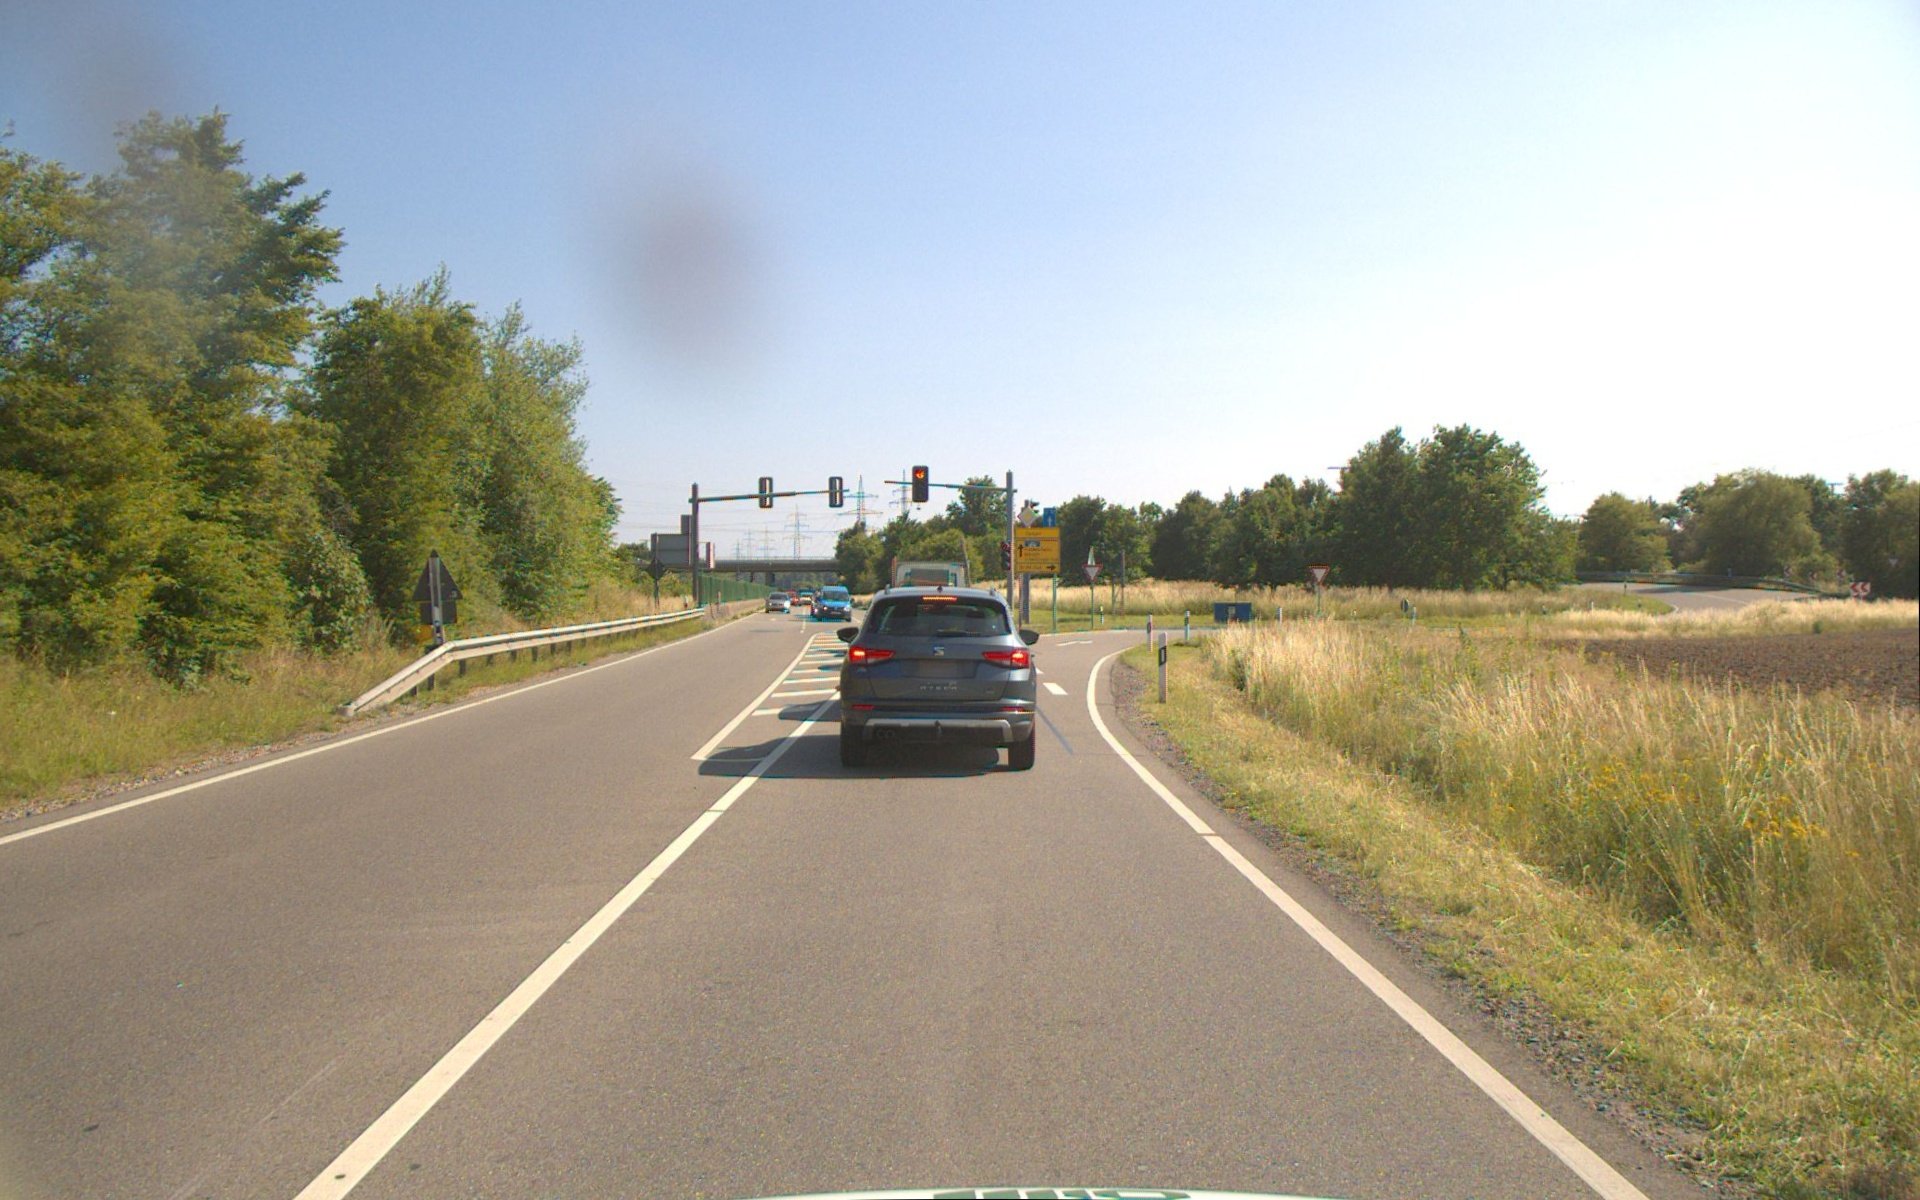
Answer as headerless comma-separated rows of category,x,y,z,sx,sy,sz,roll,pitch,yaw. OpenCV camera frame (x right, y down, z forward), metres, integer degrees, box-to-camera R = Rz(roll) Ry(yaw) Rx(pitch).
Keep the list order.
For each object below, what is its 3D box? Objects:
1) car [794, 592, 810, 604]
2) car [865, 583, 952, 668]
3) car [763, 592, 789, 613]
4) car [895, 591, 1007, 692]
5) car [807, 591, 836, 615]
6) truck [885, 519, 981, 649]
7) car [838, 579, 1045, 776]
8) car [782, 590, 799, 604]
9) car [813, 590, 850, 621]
car,-17.757,-0.203,185.482,1.728,1.357,3.994,0,0,-6
car,-1.131,0.486,35.316,1.750,1.705,3.998,0,1,-3
car,-13.096,0.150,117.573,1.789,1.456,3.994,0,0,-6
car,-0.220,0.648,28.270,1.750,1.570,3.998,0,1,-3
car,-8.337,0.156,99.285,1.651,1.404,3.529,0,1,-6
truck,-0.733,-0.380,42.953,2.290,3.120,5.807,0,0,-2
car,-0.249,0.629,15.996,1.750,1.657,3.998,0,1,-3
car,-18.182,-0.365,177.204,1.728,1.456,3.994,0,0,-6
car,-6.760,0.259,86.669,1.781,1.567,3.995,0,0,-6
